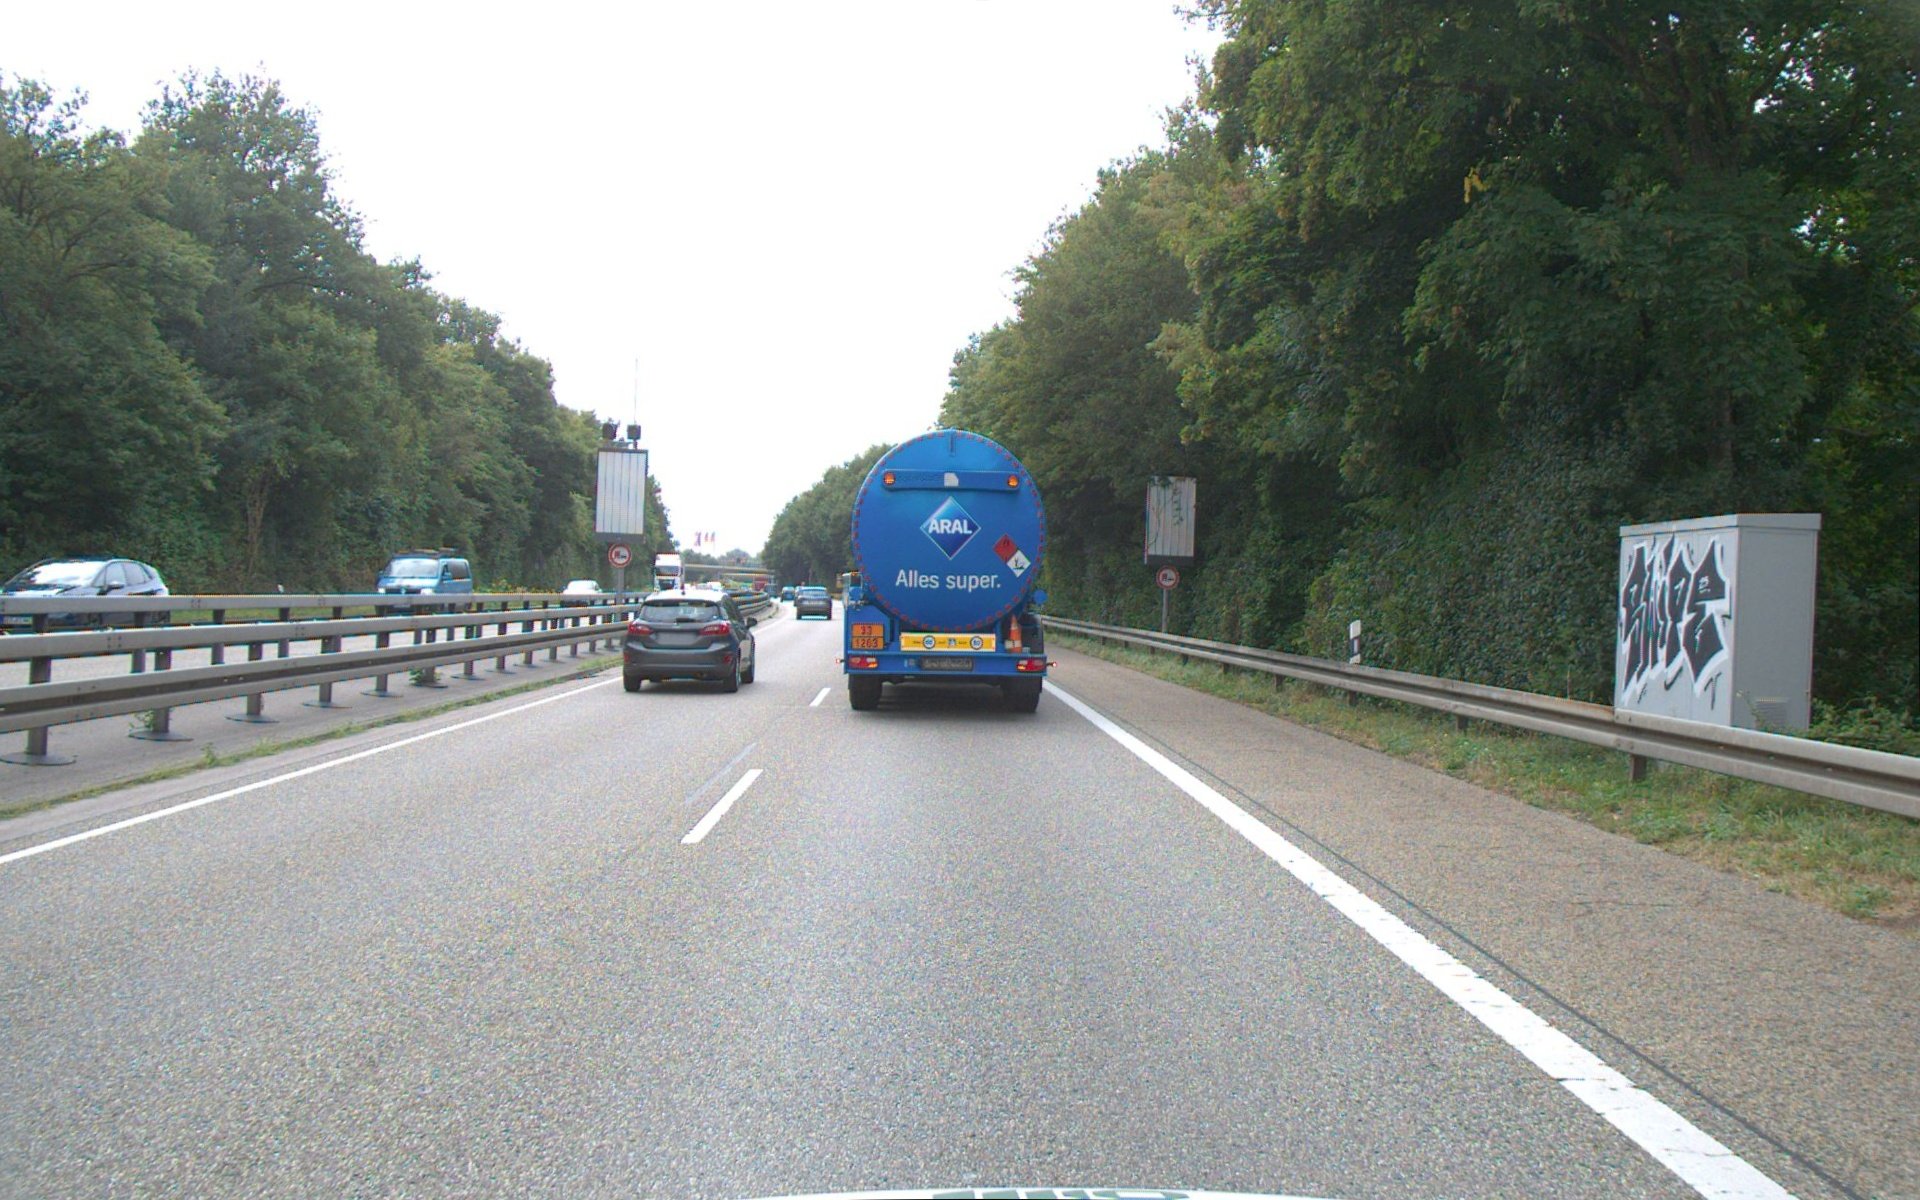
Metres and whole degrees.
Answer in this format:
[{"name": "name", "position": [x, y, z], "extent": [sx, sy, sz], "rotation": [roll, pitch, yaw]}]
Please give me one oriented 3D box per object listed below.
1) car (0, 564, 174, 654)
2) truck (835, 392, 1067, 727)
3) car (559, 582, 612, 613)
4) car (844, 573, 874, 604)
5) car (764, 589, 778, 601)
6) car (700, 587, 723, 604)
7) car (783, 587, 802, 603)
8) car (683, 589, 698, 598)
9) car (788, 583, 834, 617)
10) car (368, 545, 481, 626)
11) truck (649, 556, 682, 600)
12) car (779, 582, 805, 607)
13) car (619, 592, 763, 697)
[{"name": "car", "position": [-15.873, 0.152, 29.680], "extent": [1.660, 1.492, 4.088], "rotation": [0, 0, -1]}, {"name": "truck", "position": [-0.223, -0.496, 23.227], "extent": [2.700, 3.914, 7.685], "rotation": [0, 0, -2]}, {"name": "car", "position": [-18.982, -0.133, 84.003], "extent": [1.954, 1.507, 4.129], "rotation": [0, 0, -3]}, {"name": "car", "position": [-7.683, -0.836, 125.525], "extent": [1.956, 2.284, 3.993], "rotation": [0, 0, -8]}, {"name": "car", "position": [-26.179, -0.668, 229.098], "extent": [1.955, 1.579, 3.995], "rotation": [0, 0, -6]}, {"name": "car", "position": [-23.075, -0.435, 153.793], "extent": [1.756, 1.576, 4.126], "rotation": [0, 0, -4]}, {"name": "car", "position": [-17.497, -0.503, 172.755], "extent": [1.917, 1.595, 3.995], "rotation": [0, 0, -5]}, {"name": "car", "position": [-38.839, -0.917, 238.226], "extent": [1.708, 1.210, 4.286], "rotation": [0, 0, -5]}, {"name": "car", "position": [-7.453, 0.009, 83.220], "extent": [1.788, 1.637, 4.168], "rotation": [0, 0, 2]}, {"name": "car", "position": [-16.569, -0.420, 51.431], "extent": [1.896, 2.362, 5.303], "rotation": [0, 0, -2]}, {"name": "truck", "position": [-28.074, -2.087, 157.934], "extent": [2.640, 4.134, 5.316], "rotation": [0, 0, -5]}, {"name": "car", "position": [-13.950, -0.468, 137.211], "extent": [1.957, 2.049, 3.992], "rotation": [0, 0, -9]}, {"name": "car", "position": [-4.082, 0.631, 25.754], "extent": [1.790, 1.483, 4.636], "rotation": [0, 0, -4]}]
